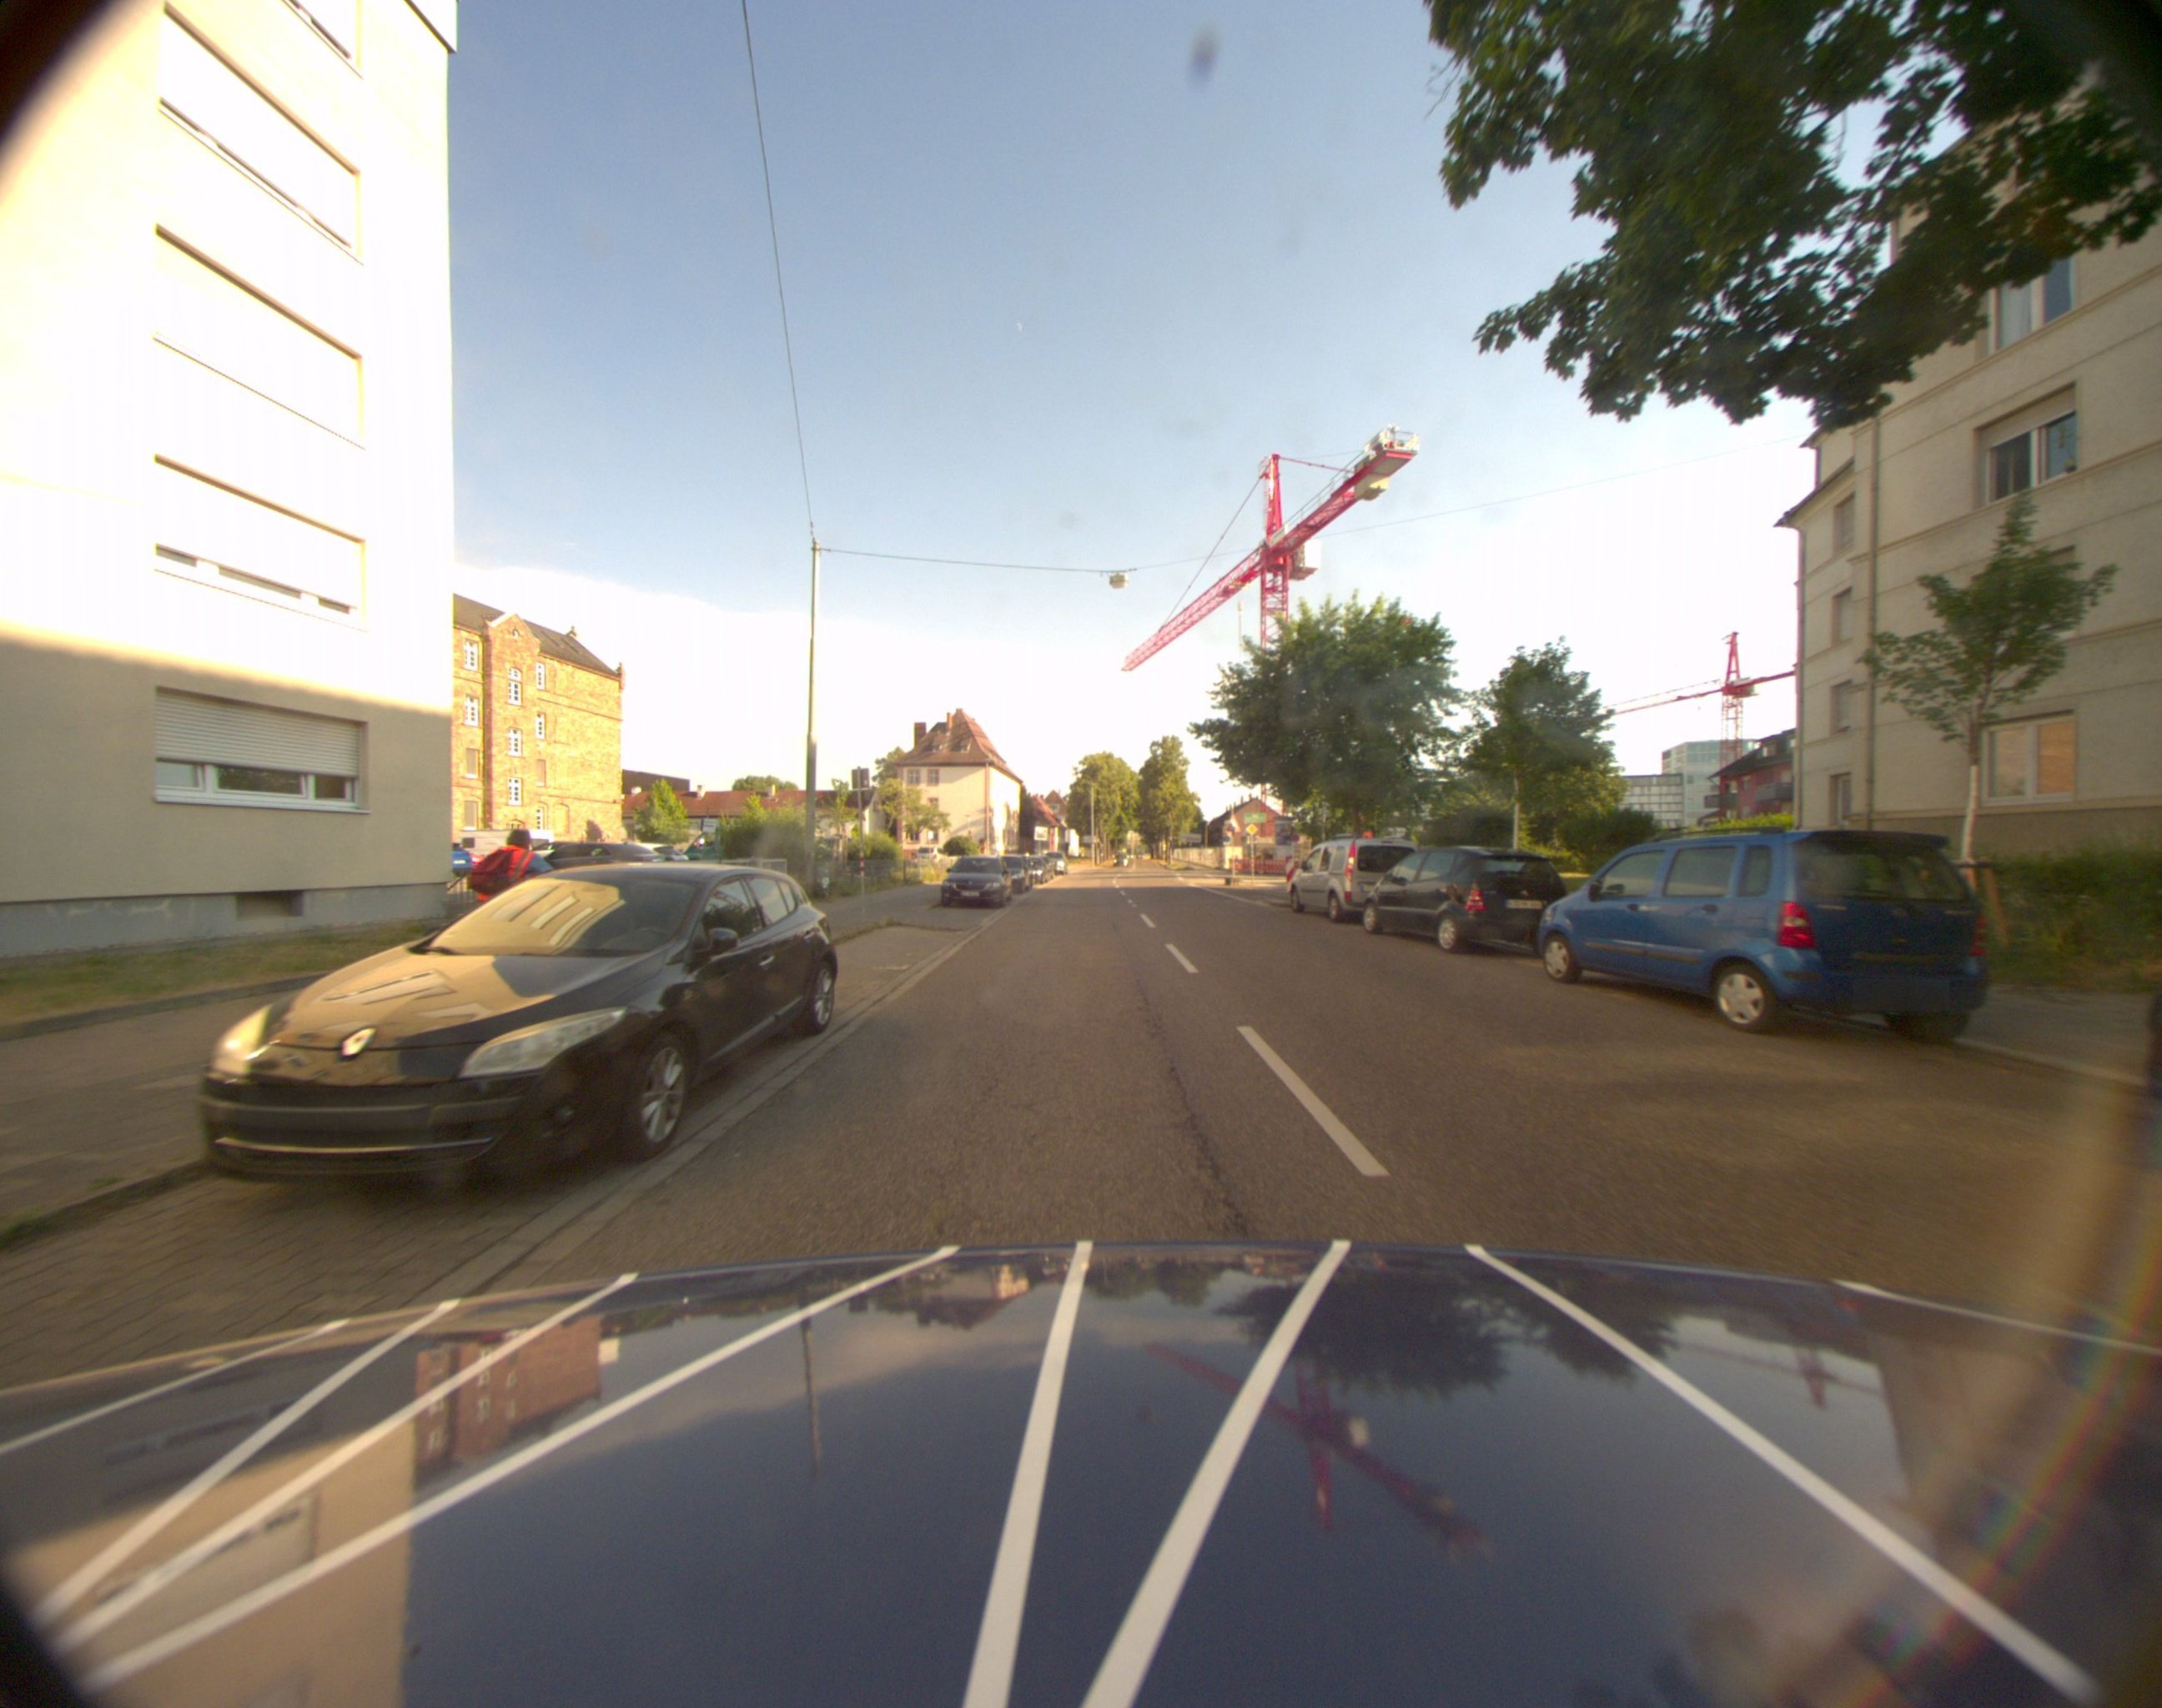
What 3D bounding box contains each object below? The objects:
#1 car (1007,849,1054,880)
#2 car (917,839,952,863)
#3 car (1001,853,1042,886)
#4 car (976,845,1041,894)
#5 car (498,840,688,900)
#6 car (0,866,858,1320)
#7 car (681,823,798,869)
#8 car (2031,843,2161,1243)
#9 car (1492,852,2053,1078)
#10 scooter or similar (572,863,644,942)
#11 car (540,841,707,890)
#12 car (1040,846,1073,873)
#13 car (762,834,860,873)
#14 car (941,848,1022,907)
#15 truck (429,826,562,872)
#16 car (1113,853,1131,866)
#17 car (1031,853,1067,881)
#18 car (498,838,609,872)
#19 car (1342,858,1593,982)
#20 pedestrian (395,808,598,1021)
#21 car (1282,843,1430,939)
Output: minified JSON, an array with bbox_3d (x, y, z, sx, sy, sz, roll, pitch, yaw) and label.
[{"bbox_3d":[-2.650,0.513,40.972,1.906,1.521,4.810,1,1,3],"label":"car"},{"bbox_3d":[-10.787,-0.268,56.207,1.657,1.652,4.000,-2,1,3],"label":"car"},{"bbox_3d":[-2.740,0.724,35.634,1.655,1.427,3.960,1,-1,-1],"label":"car"},{"bbox_3d":[-2.820,0.539,30.660,1.906,1.769,4.582,1,1,3],"label":"car"},{"bbox_3d":[-14.134,0.423,22.159,4.487,1.593,1.732,1,1,3],"label":"car"},{"bbox_3d":[-3.032,0.905,5.080,1.803,1.498,4.620,0,1,-1],"label":"car"},{"bbox_3d":[-14.407,-0.334,32.207,3.997,1.784,2.000,-2,1,1],"label":"car"},{"bbox_3d":[5.728,0.878,1.432,1.878,1.749,4.688,1,1,-1],"label":"car"},{"bbox_3d":[6.138,0.801,7.542,1.878,1.543,3.999,-2,1,-1],"label":"car"},{"bbox_3d":[-7.743,0.768,12.491,0.334,1.185,1.240,4,1,1],"label":"scooter or similar"},{"bbox_3d":[-15.004,0.365,25.058,4.487,1.447,1.732,-2,1,4],"label":"car"},{"bbox_3d":[-1.798,0.400,56.869,1.925,1.769,4.810,4,1,3],"label":"car"},{"bbox_3d":[-13.221,-0.030,37.334,3.996,1.784,2.000,-2,1,2],"label":"car"},{"bbox_3d":[-2.903,0.616,23.085,1.891,1.552,4.945,1,1,-1],"label":"car"},{"bbox_3d":[-36.845,-0.347,47.920,6.438,2.668,2.542,-2,1,4],"label":"truck"},{"bbox_3d":[4.901,0.638,90.820,1.776,1.492,3.673,0,0,-3],"label":"car"},{"bbox_3d":[-1.911,0.751,46.801,1.746,1.532,4.440,2,1,3],"label":"car"},{"bbox_3d":[-26.845,0.036,38.773,4.487,1.592,1.732,-2,1,4],"label":"car"},{"bbox_3d":[5.916,0.901,12.265,1.878,1.543,3.999,2,1,-1],"label":"car"},{"bbox_3d":[-5.589,0.529,7.382,0.891,1.880,1.279,-2,1,1],"label":"pedestrian"},{"bbox_3d":[6.021,0.702,17.269,1.846,1.885,4.486,0,1,2],"label":"car"}]
